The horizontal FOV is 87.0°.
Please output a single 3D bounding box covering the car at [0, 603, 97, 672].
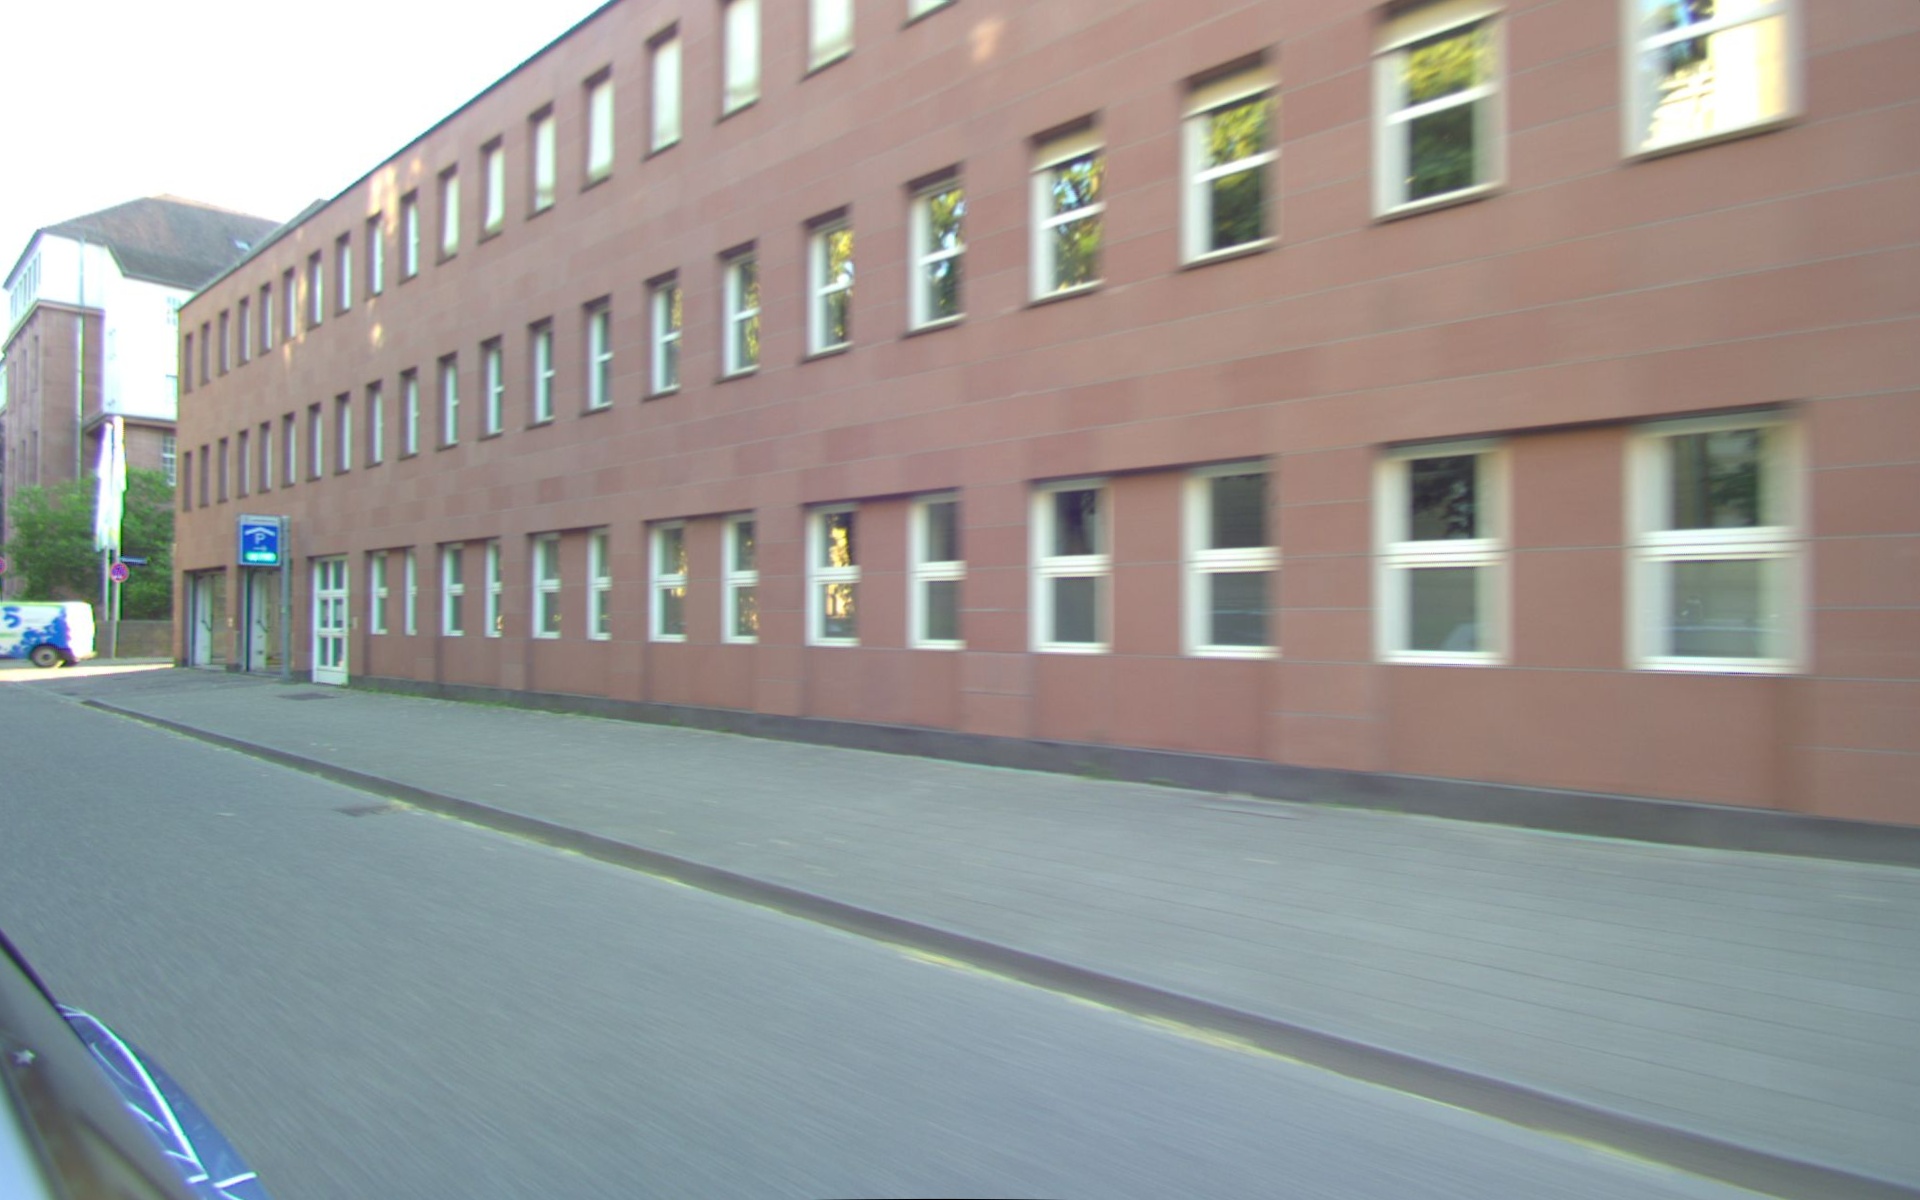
[{"bbox_3d":[-27.759,1.099,28.440,5.020,1.889,2.006,0,-2,-29],"label":"car"}]
